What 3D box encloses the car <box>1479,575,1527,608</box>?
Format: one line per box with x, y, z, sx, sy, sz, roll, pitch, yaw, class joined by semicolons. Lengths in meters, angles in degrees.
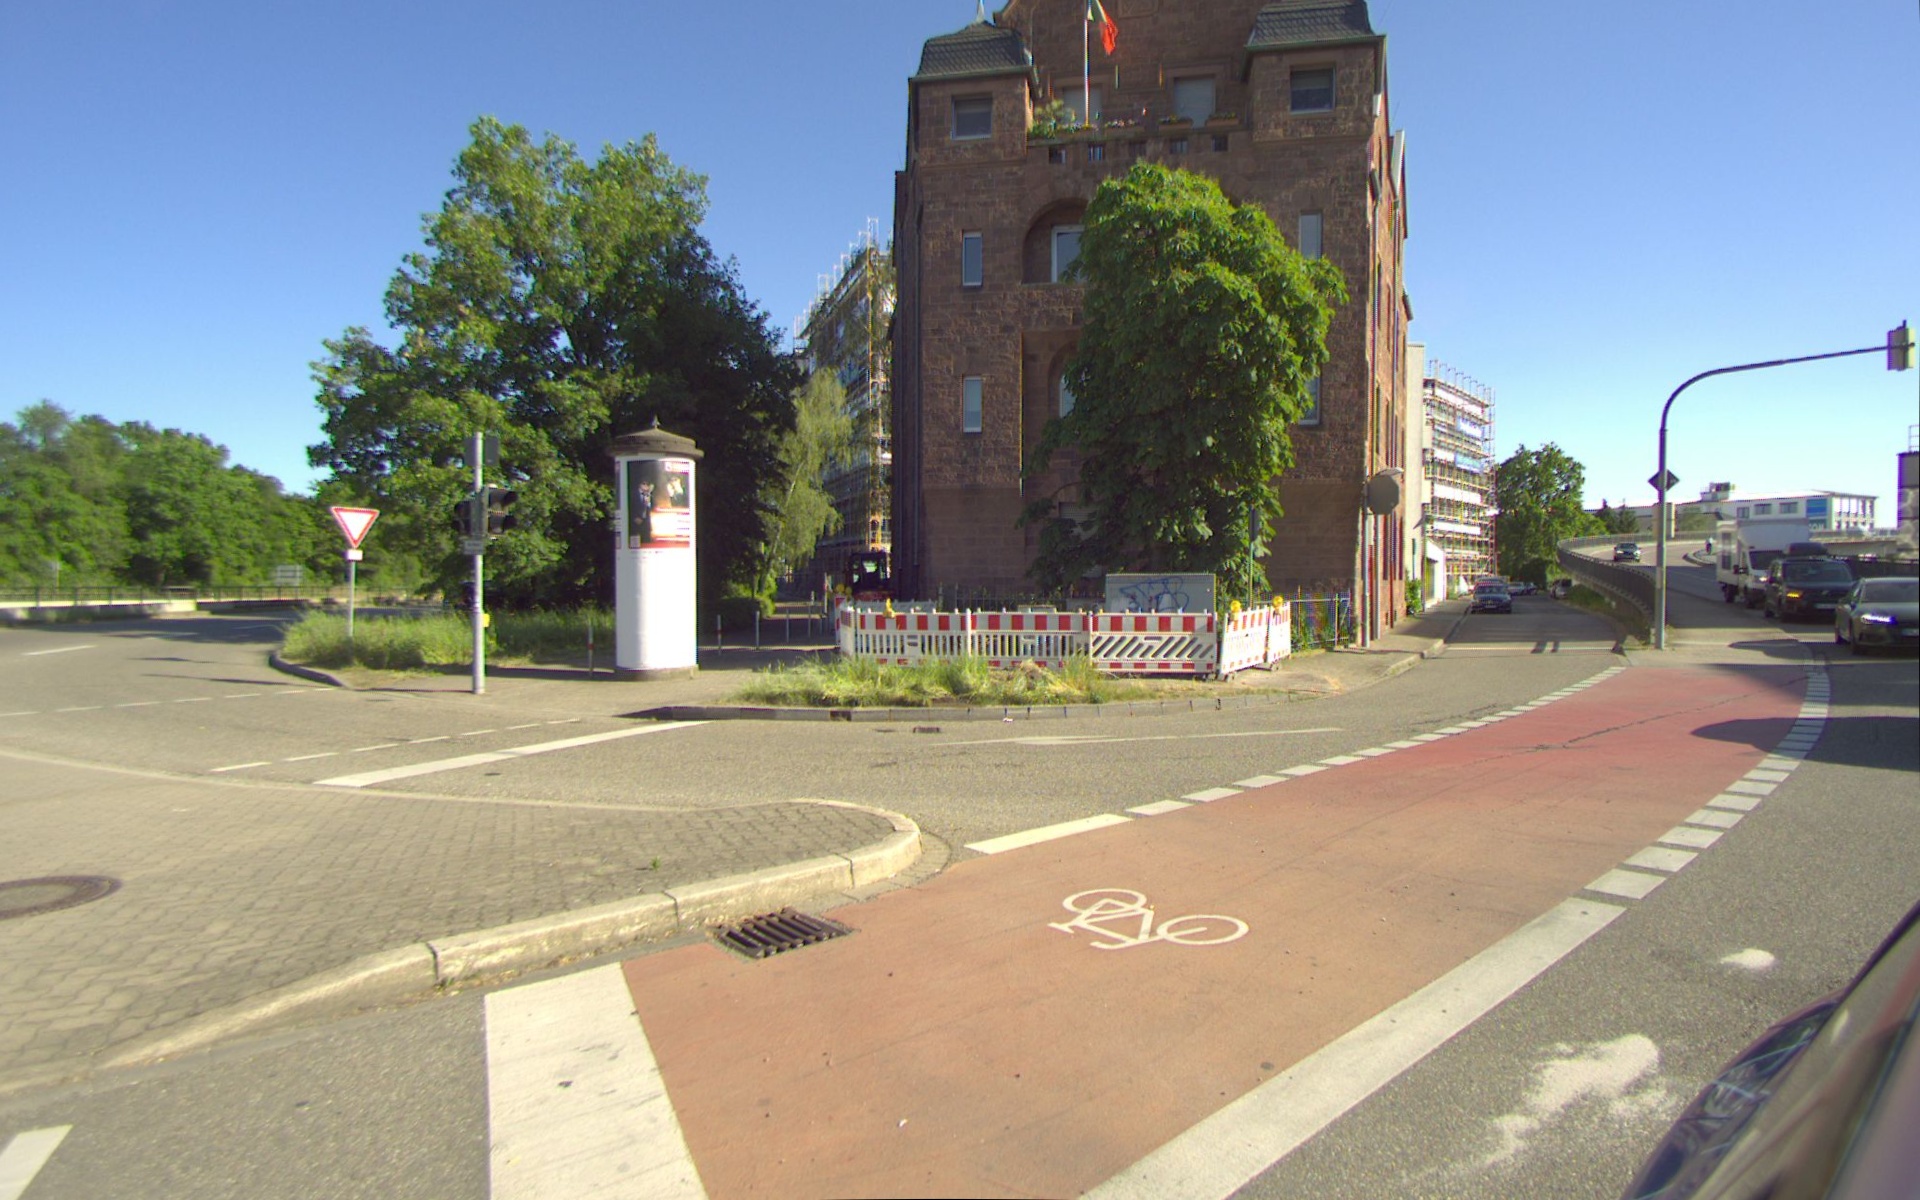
26.958;-0.446;50.359;2.035;1.551;4.053;0;1;28;car

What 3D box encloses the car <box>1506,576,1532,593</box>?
59.763;-1.665;108.165;1.749;1.781;4.145;1;1;38;car

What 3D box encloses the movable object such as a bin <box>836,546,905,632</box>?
-2.761;-0.347;30.705;1.960;2.439;4.005;0;1;-6;movable object such as a bin

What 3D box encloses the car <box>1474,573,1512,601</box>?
33.523;-0.845;63.770;2.034;1.707;4.054;0;1;27;car

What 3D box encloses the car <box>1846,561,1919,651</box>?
18.862;0.046;19.818;1.869;1.488;4.577;0;3;37;car

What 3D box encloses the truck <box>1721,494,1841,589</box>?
30.152;-2.021;37.417;2.484;3.167;6.883;0;1;31;truck

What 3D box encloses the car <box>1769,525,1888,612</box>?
24.827;-0.879;29.115;1.937;2.290;4.729;1;1;33;car

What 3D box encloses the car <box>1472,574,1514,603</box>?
29.919;-0.669;56.877;2.034;1.551;4.054;0;1;27;car

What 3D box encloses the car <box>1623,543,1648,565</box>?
57.960;-3.919;86.897;1.745;1.781;4.728;1;1;34;car

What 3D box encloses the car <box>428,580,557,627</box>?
-16.708;0.095;36.300;1.990;1.581;3.729;1;1;38;car
